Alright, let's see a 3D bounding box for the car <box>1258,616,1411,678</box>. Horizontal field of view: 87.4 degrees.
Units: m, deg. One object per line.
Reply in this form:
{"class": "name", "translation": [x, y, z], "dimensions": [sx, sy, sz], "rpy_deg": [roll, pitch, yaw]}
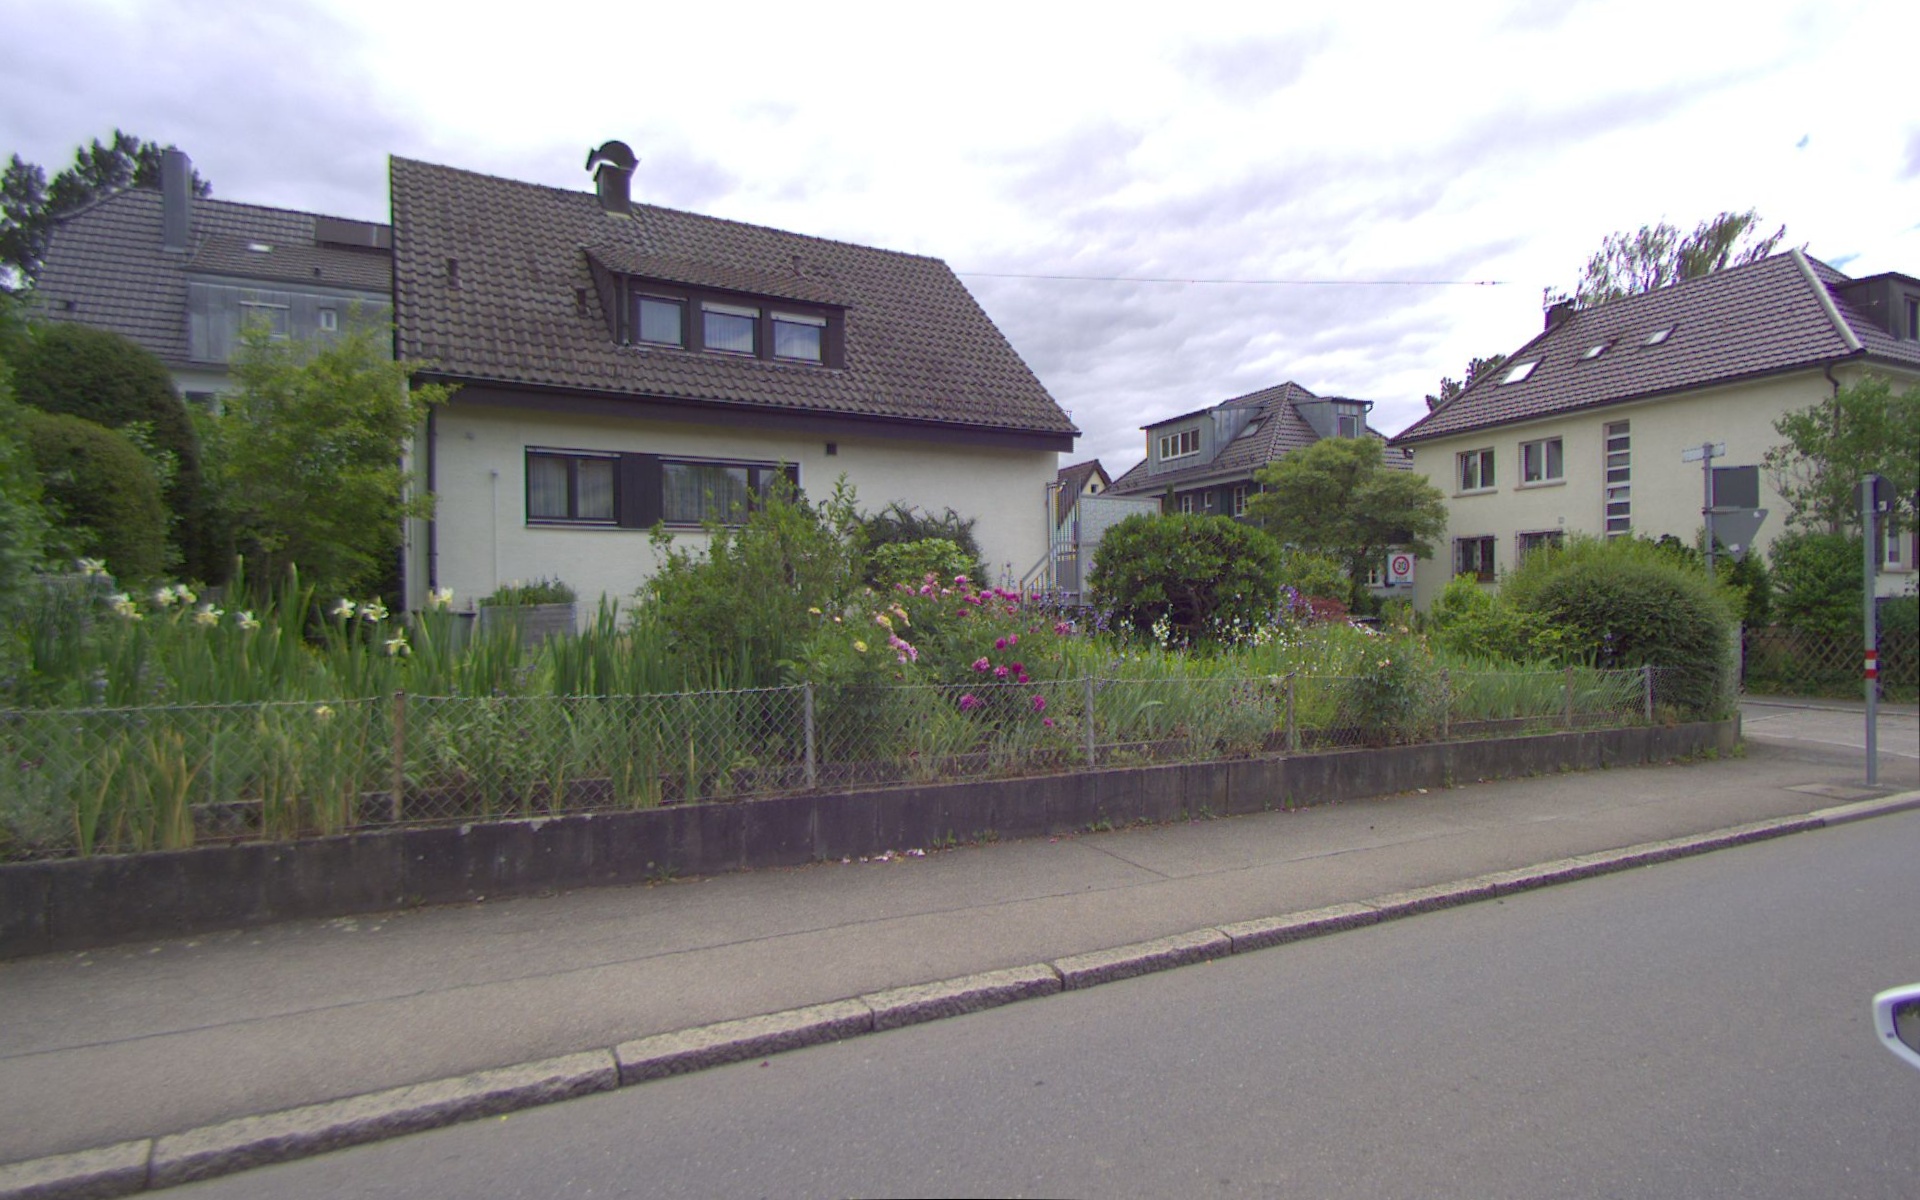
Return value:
{"class": "car", "translation": [10.641, 1.302, 28.822], "dimensions": [1.783, 1.565, 3.974], "rpy_deg": [1, 0, -25]}
